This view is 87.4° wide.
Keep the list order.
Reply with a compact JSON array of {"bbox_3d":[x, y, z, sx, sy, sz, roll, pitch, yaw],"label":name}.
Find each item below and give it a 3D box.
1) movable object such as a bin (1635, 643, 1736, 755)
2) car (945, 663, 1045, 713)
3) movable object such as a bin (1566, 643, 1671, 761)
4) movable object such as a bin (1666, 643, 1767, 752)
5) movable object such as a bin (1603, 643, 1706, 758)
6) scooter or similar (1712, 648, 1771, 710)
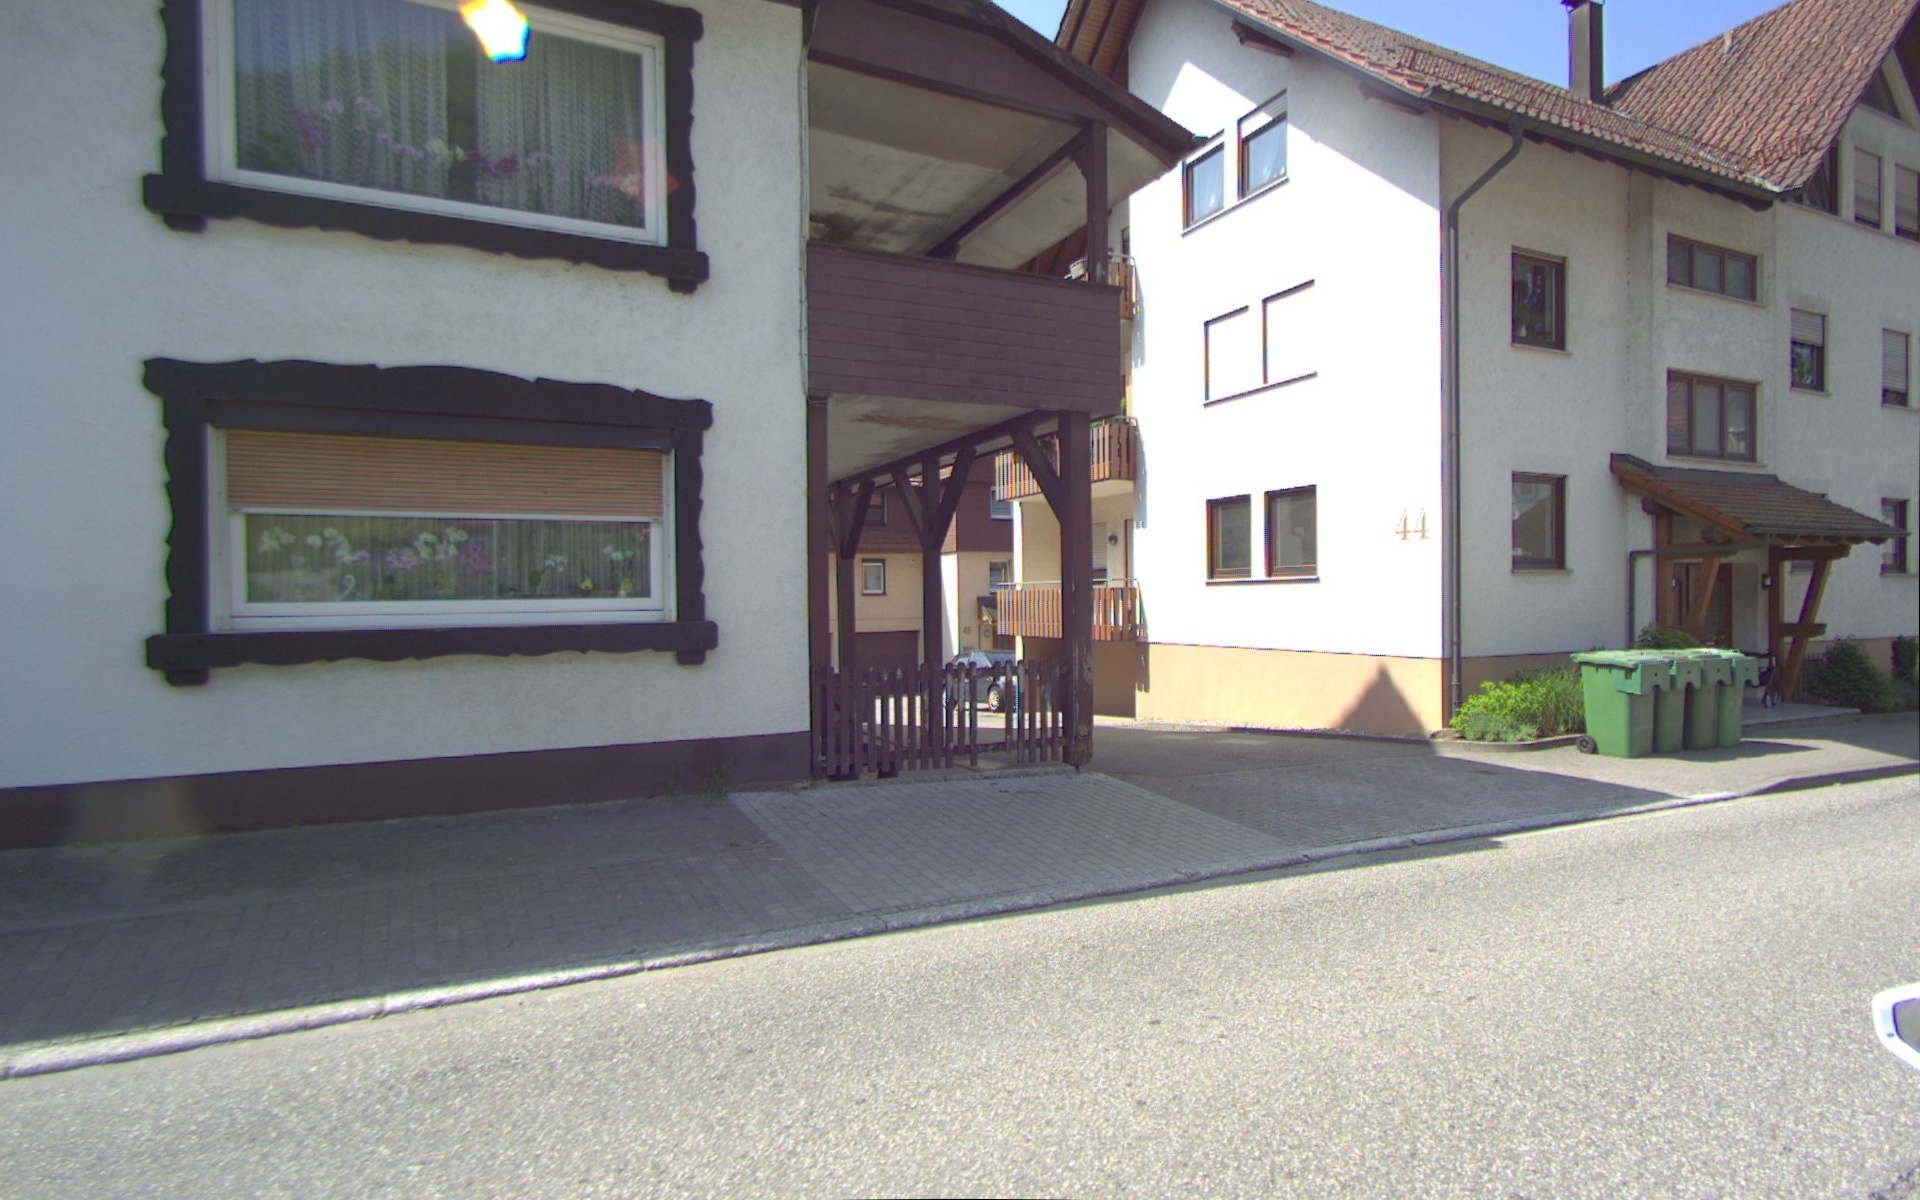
[{"bbox_3d":[8.146,1.086,11.292,0.590,1.197,0.715,0,-2,-26],"label":"movable object such as a bin"},{"bbox_3d":[0.805,2.187,24.948,1.455,1.128,3.116,0,-5,-19],"label":"car"},{"bbox_3d":[6.999,1.056,10.692,0.590,1.197,0.715,0,-2,-26],"label":"movable object such as a bin"},{"bbox_3d":[8.721,1.102,11.593,0.590,1.197,0.715,0,-2,-26],"label":"movable object such as a bin"},{"bbox_3d":[7.582,1.071,10.981,0.590,1.197,0.715,0,-2,-26],"label":"movable object such as a bin"},{"bbox_3d":[11.235,1.128,14.441,0.531,0.837,0.503,0,0,-28],"label":"scooter or similar"}]
